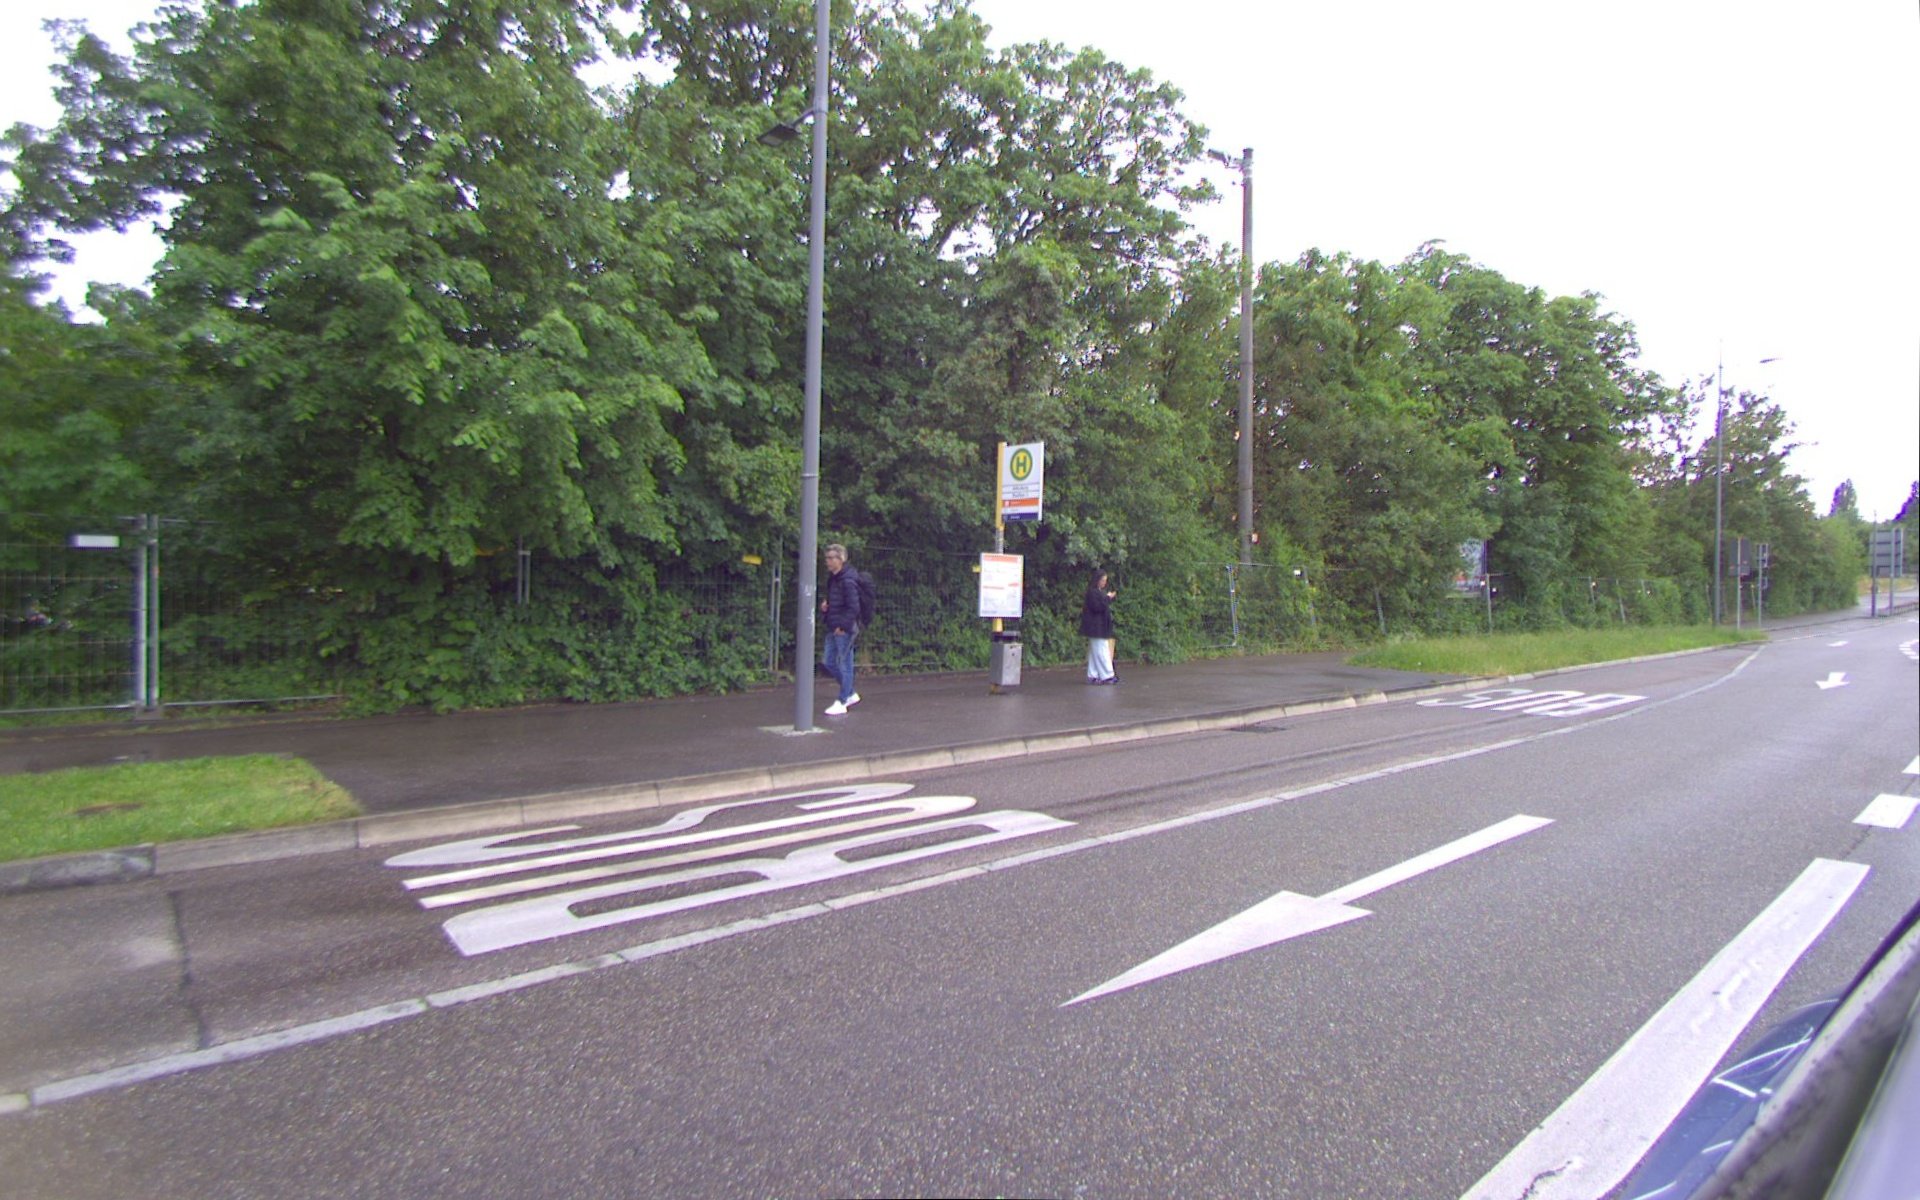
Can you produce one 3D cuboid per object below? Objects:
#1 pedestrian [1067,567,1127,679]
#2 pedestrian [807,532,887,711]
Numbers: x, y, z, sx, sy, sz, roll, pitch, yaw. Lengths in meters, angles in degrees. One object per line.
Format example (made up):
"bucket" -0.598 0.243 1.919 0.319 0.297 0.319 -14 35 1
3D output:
"pedestrian" 2.057 0.327 15.217 0.650 1.648 0.588 0 1 -40
"pedestrian" -1.304 0.227 11.632 0.587 1.973 0.742 0 1 -40
